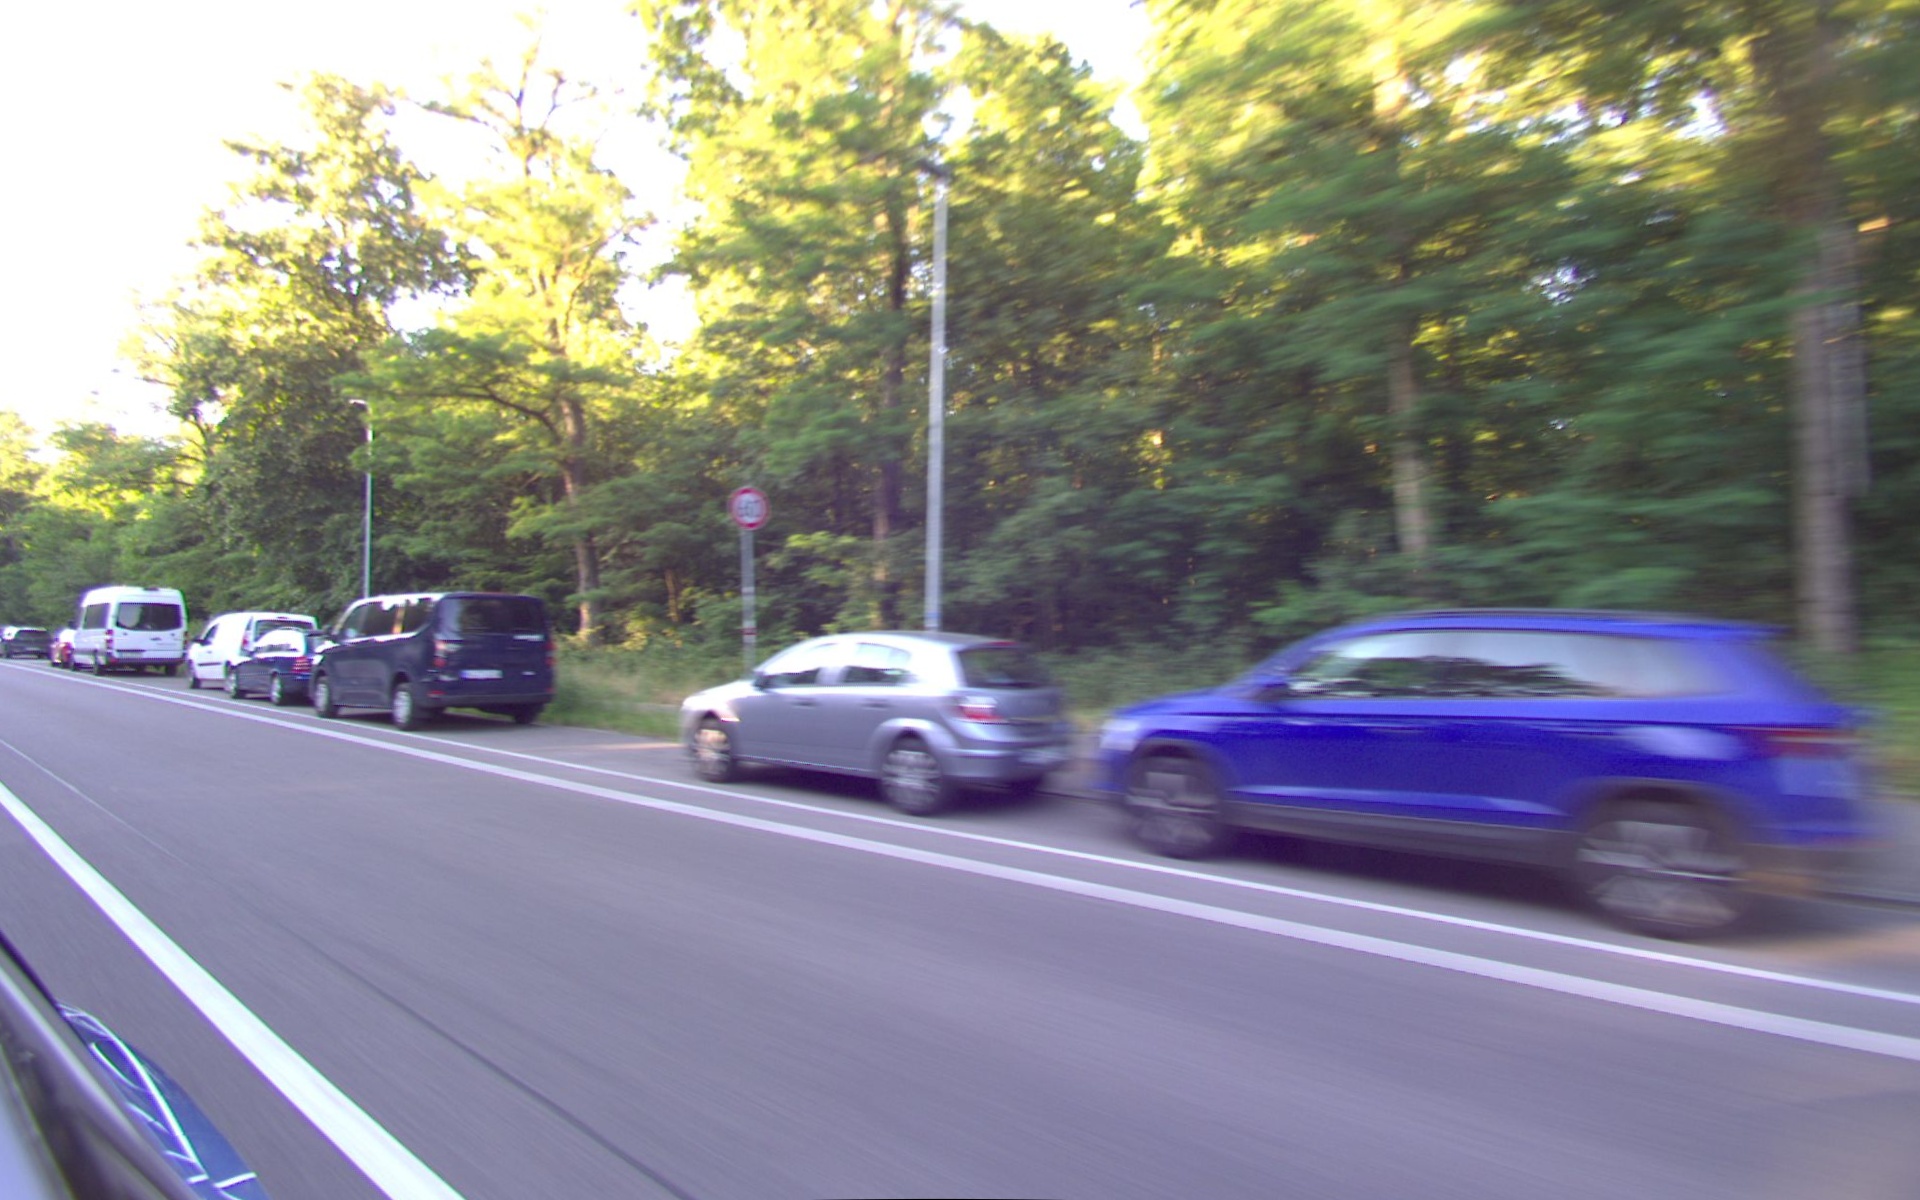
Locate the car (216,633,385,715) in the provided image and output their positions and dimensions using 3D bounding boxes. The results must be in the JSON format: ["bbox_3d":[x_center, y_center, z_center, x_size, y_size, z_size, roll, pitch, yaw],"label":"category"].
[{"bbox_3d":[-13.191,1.406,20.142,4.445,1.444,1.652,-2,-4,41],"label":"car"}]

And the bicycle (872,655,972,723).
[{"bbox_3d":[-0.614,1.356,15.730,1.717,0.982,0.448,-2,-3,41],"label":"bicycle"}]

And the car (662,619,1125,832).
[{"bbox_3d":[-0.758,0.969,9.232,4.242,1.513,1.652,-2,-3,40],"label":"car"}]

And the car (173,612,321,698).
[{"bbox_3d":[-16.957,1.261,23.995,4.381,1.872,1.671,-2,-3,38],"label":"car"}]

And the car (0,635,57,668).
[{"bbox_3d":[-43.996,2.407,47.404,4.224,1.474,1.827,-2,-4,39],"label":"car"}]

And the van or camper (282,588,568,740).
[{"bbox_3d":[-8.594,0.964,16.016,5.455,2.033,1.982,-2,-4,39],"label":"van or camper"}]

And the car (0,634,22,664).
[{"bbox_3d":[-51.532,2.605,54.008,3.654,1.520,1.694,-2,-4,41],"label":"car"}]

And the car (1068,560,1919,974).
[{"bbox_3d":[3.024,0.768,6.182,4.518,1.725,1.727,-2,-3,40],"label":"car"}]

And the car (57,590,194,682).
[{"bbox_3d":[-26.390,1.162,31.887,7.085,2.626,2.057,-2,-5,41],"label":"car"}]

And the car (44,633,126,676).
[{"bbox_3d":[-31.163,1.907,36.009,4.387,1.441,1.697,-2,-3,42],"label":"car"}]
